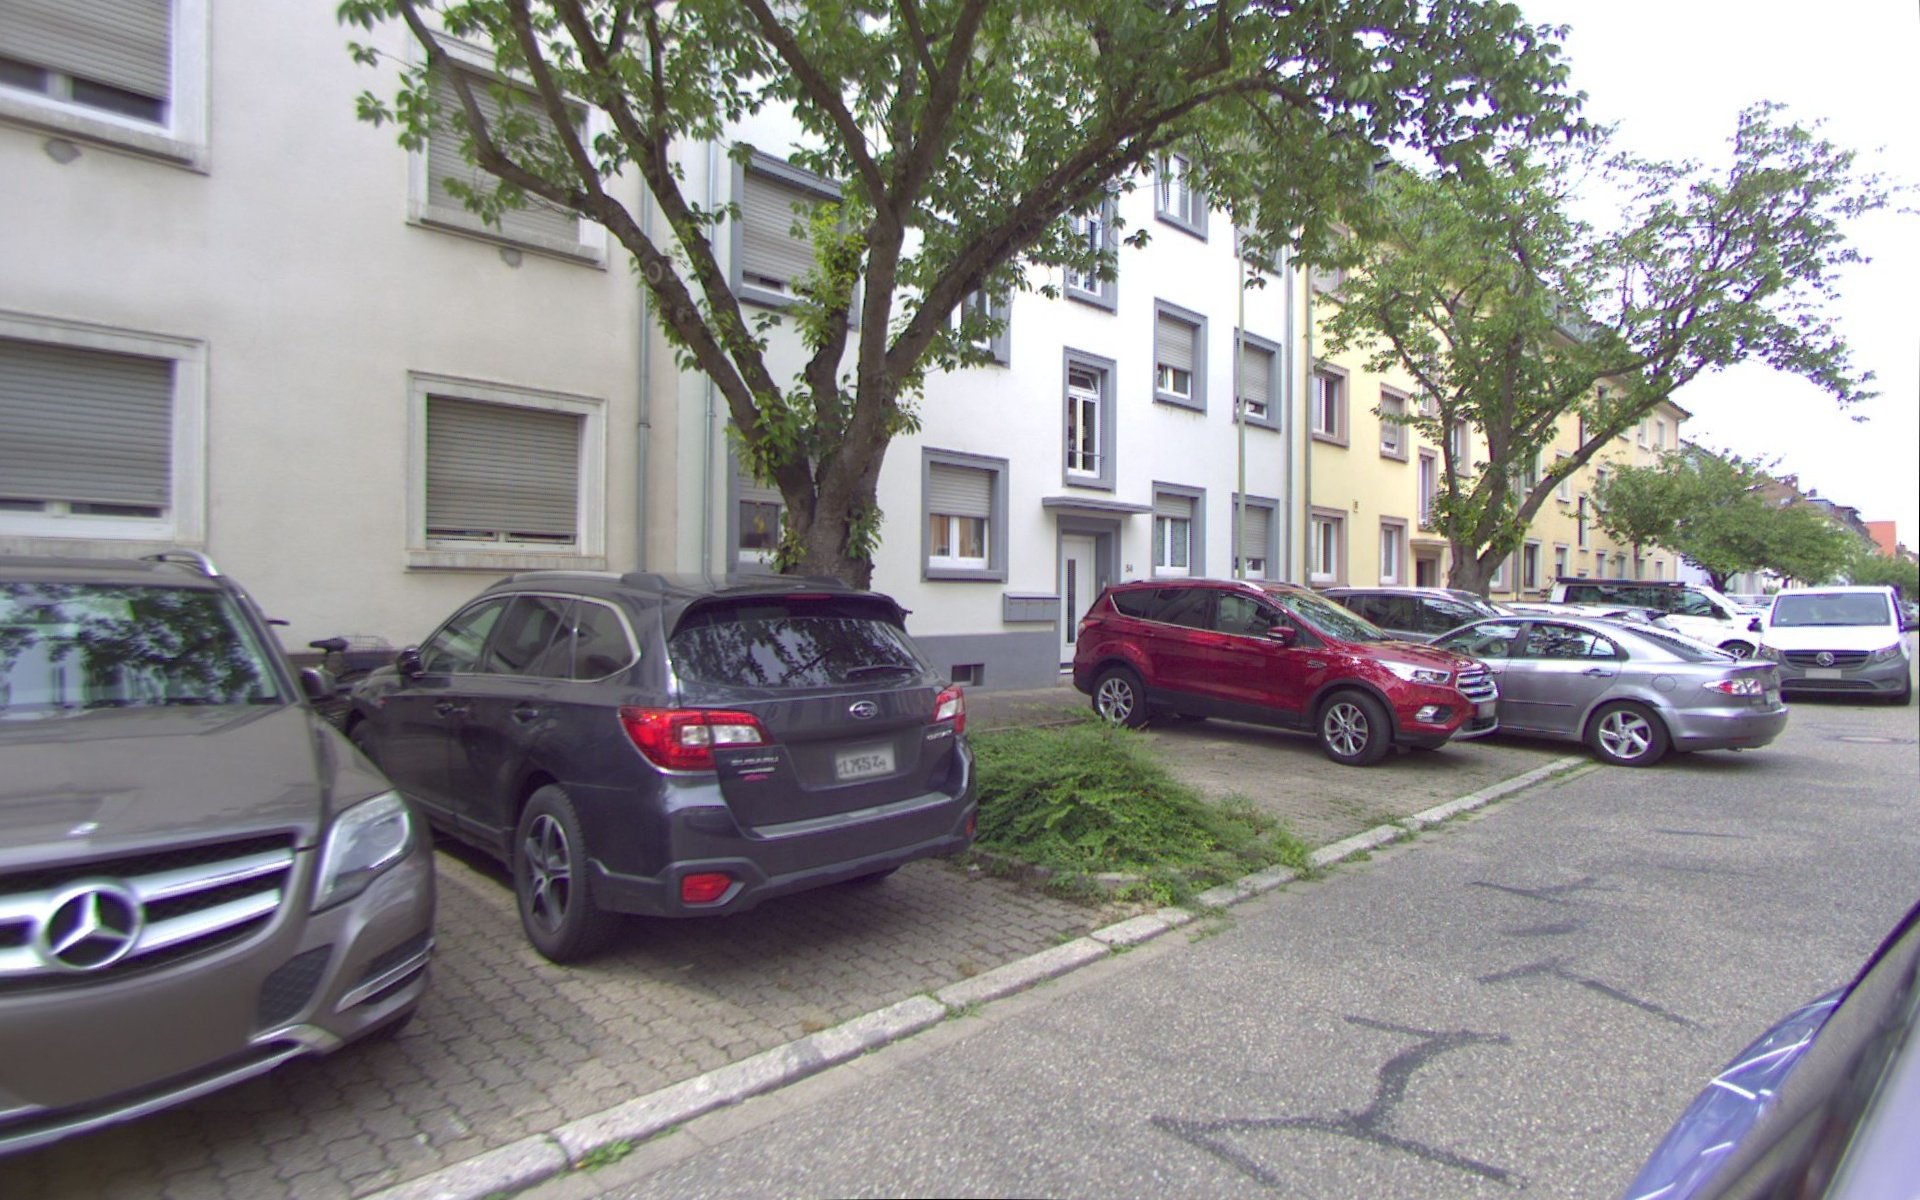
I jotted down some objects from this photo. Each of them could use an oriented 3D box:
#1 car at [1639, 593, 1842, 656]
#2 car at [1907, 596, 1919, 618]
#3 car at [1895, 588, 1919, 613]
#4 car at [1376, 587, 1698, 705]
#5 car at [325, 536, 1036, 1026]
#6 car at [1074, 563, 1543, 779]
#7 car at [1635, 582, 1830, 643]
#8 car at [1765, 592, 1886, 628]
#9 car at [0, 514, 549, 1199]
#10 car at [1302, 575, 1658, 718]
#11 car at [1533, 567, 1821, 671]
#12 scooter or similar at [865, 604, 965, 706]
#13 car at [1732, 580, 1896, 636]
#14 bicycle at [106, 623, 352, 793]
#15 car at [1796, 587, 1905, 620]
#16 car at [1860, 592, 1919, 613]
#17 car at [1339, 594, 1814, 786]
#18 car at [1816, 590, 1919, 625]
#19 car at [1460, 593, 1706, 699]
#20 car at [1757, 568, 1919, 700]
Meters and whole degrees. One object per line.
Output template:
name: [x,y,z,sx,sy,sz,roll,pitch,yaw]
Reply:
car: [23.010,0.648,29.955,4.550,1.528,1.821,4,3,45]
car: [74.568,0.514,78.369,3.387,1.697,1.642,0,0,-45]
car: [70.418,0.020,74.871,3.387,1.850,1.642,-1,0,-45]
car: [8.746,0.591,15.589,1.611,1.437,3.991,0,3,-44]
car: [-1.809,0.499,5.503,4.217,1.617,1.873,4,3,45]
car: [3.404,0.522,10.550,1.871,1.698,4.223,0,3,-41]
car: [21.503,0.298,28.271,4.095,1.432,1.821,4,3,45]
car: [42.758,0.470,50.060,1.683,1.518,4.396,0,3,-45]
car: [-3.359,0.528,3.762,4.217,1.617,1.873,4,3,44]
car: [6.929,0.499,13.802,1.611,1.555,3.991,0,3,-44]
car: [16.612,0.323,23.653,5.228,2.048,2.042,4,3,43]
scooter or similar: [-0.534,0.645,12.292,1.231,1.161,0.364,0,2,-41]
car: [33.504,0.254,39.806,1.820,1.933,4.744,0,3,-44]
bicycle: [-5.412,0.748,7.539,1.447,1.094,0.504,0,2,-41]
car: [49.480,0.155,56.280,1.840,1.555,4.397,0,3,-43]
car: [65.904,0.186,71.539,3.431,1.465,1.621,0,0,43]
car: [6.366,0.767,10.782,1.737,1.473,3.991,0,3,-44]
car: [55.270,0.424,61.550,1.840,1.849,4.713,0,3,-43]
car: [11.346,0.744,18.560,1.785,1.593,3.481,0,3,-44]
car: [15.055,0.491,17.131,1.993,1.939,4.630,-2,-1,44]
